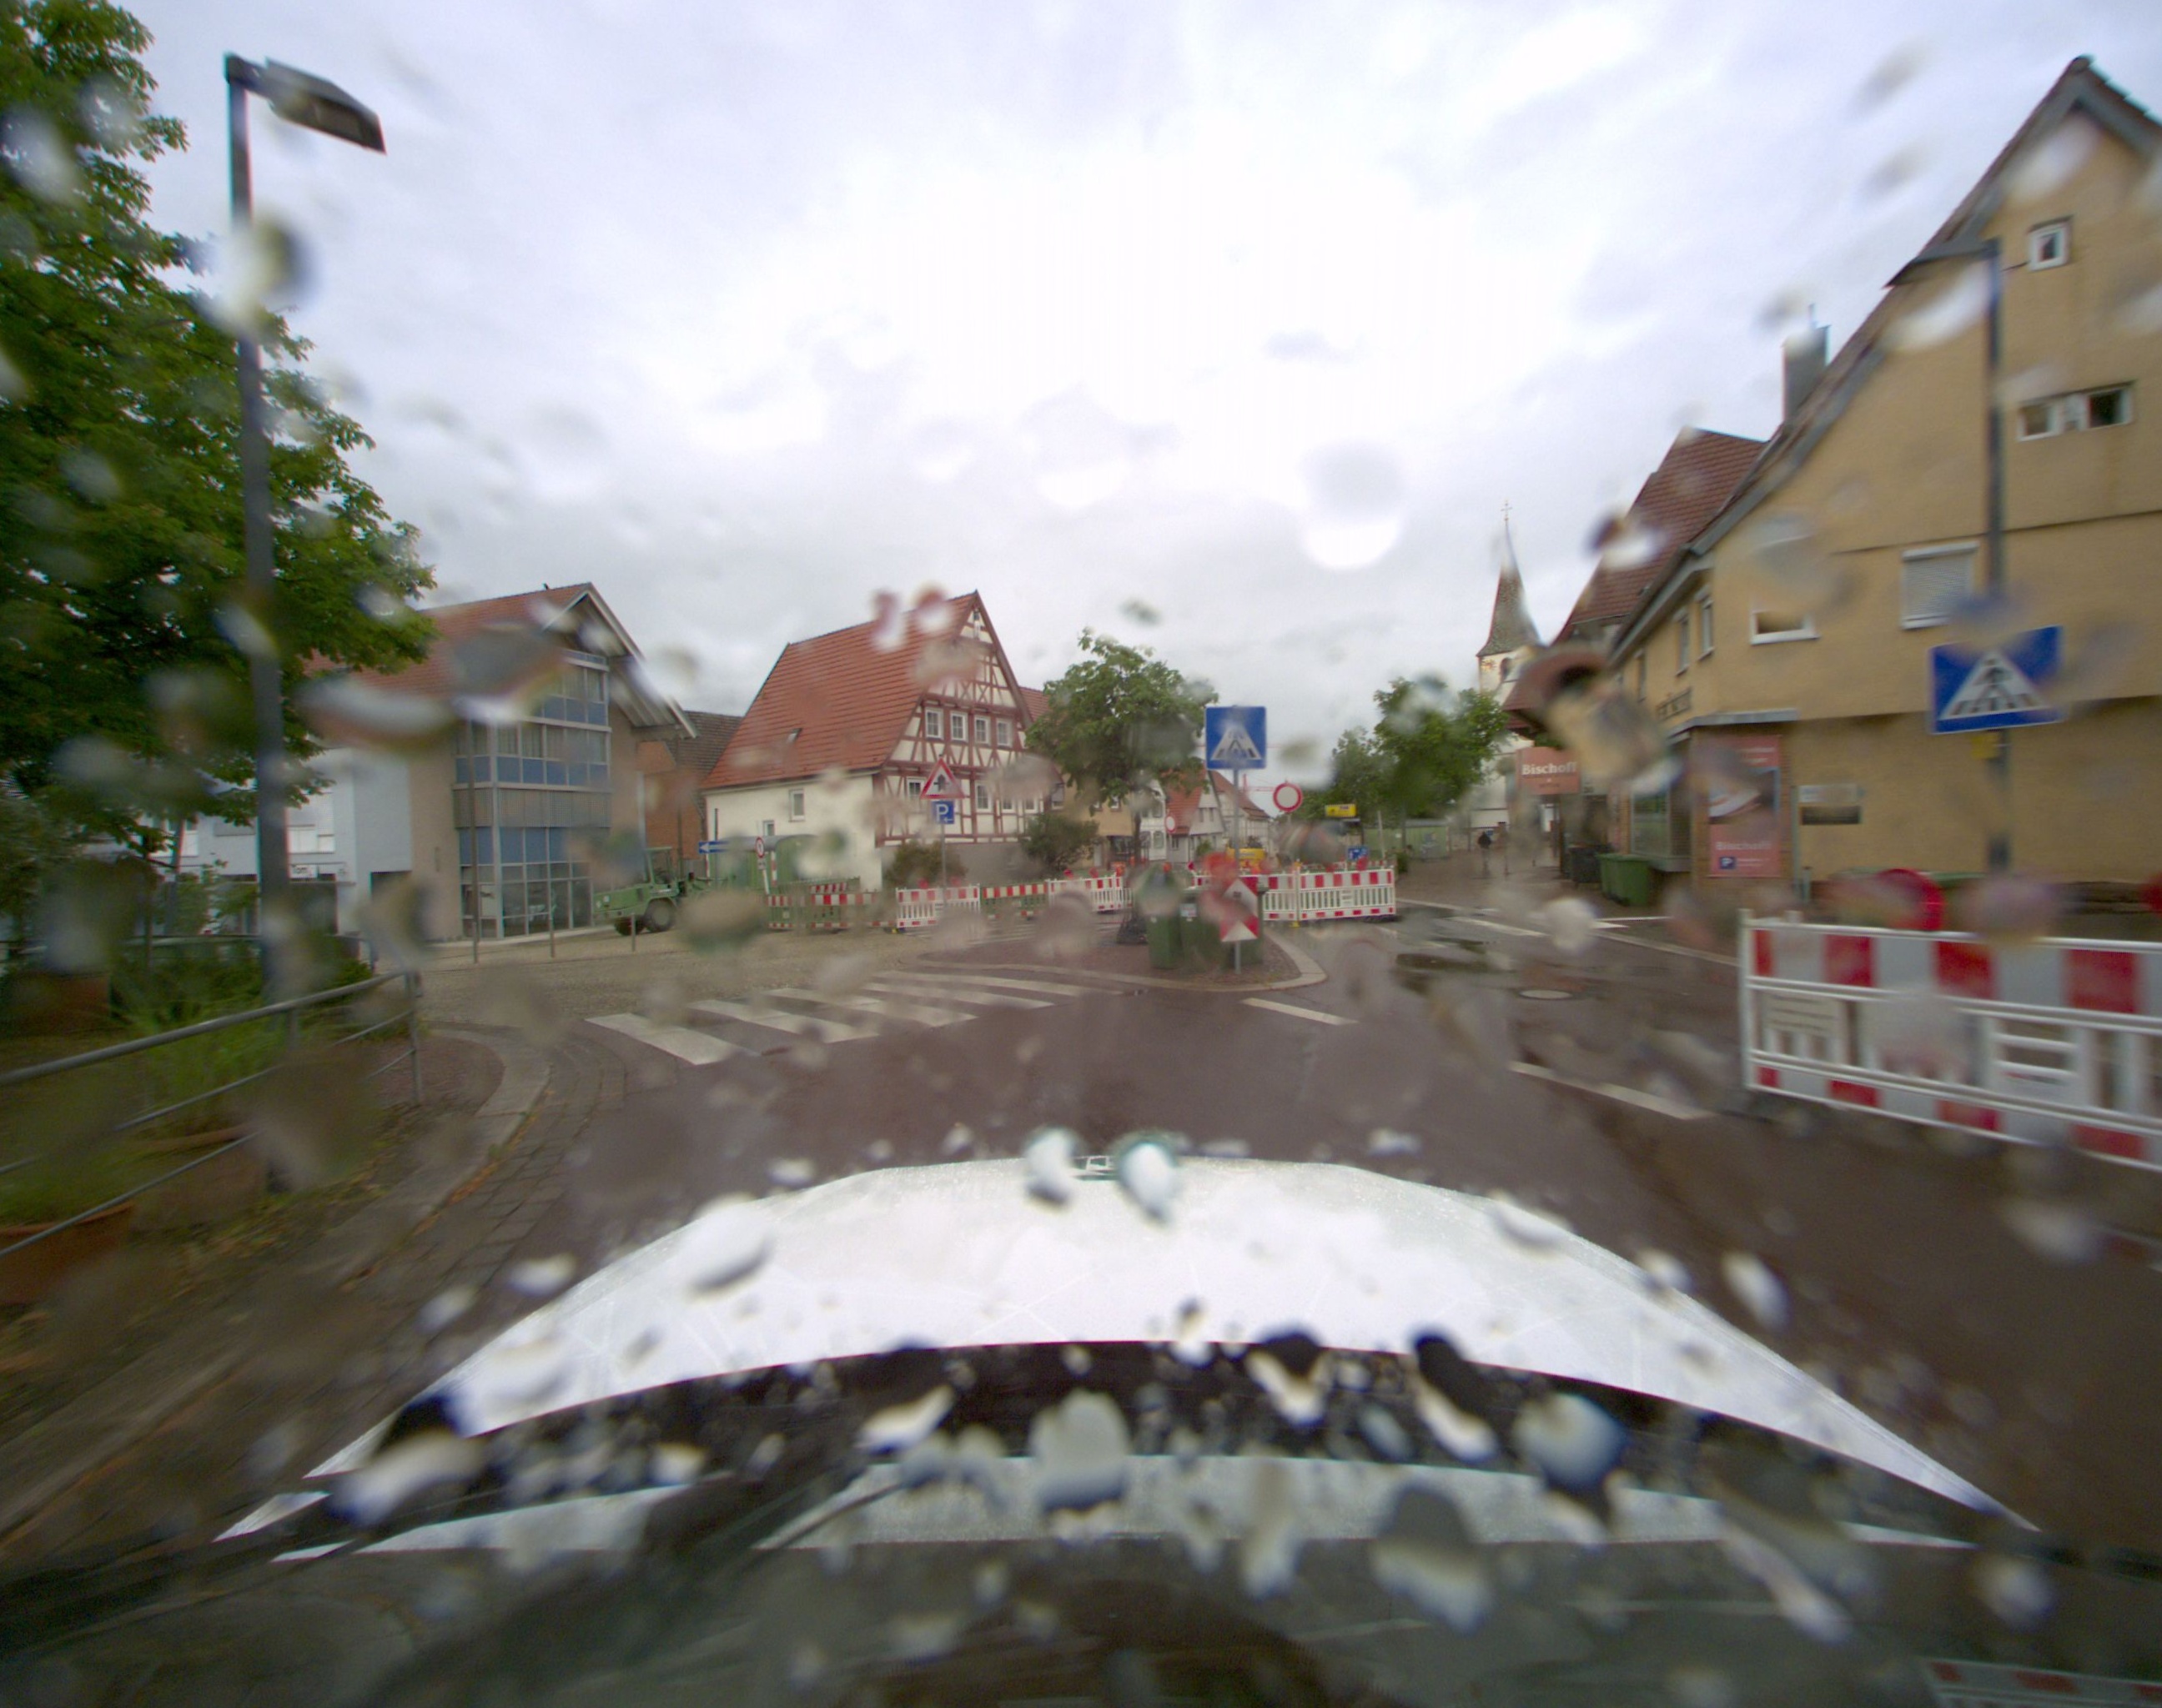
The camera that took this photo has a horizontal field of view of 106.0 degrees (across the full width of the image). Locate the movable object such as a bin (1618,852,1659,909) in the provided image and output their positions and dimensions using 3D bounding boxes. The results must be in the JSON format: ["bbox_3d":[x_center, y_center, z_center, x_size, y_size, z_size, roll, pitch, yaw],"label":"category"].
[{"bbox_3d":[11.659,0.540,17.038,0.513,1.132,0.583,-5,0,23],"label":"movable object such as a bin"}]

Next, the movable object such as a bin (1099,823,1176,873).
[{"bbox_3d":[2.584,-0.232,36.371,1.887,2.014,4.024,-4,-2,28],"label":"movable object such as a bin"}]

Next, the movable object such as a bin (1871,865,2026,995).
[{"bbox_3d":[7.513,0.648,7.081,0.674,1.066,0.541,-3,-3,13],"label":"movable object such as a bin"}]

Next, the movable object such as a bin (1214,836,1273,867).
[{"bbox_3d":[11.076,-0.146,55.309,3.373,2.014,3.496,-1,0,20],"label":"movable object such as a bin"}]

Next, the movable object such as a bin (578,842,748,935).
[{"bbox_3d":[-13.154,1.024,25.907,1.887,2.554,4.319,-5,0,32],"label":"movable object such as a bin"}]

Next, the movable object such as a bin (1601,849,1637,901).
[{"bbox_3d":[12.391,0.473,18.753,0.511,1.128,0.583,-5,0,23],"label":"movable object such as a bin"}]

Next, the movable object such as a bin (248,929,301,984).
[{"bbox_3d":[-18.125,2.297,18.322,0.547,1.126,0.562,-4,0,1],"label":"movable object such as a bin"}]

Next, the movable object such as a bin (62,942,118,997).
[{"bbox_3d":[-22.532,2.625,18.529,0.536,1.126,0.538,-4,0,1],"label":"movable object such as a bin"}]

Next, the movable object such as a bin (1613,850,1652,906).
[{"bbox_3d":[11.902,0.517,17.600,0.511,1.129,0.583,-5,0,23],"label":"movable object such as a bin"}]

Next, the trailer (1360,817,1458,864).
[{"bbox_3d":[21.425,-0.844,53.415,5.739,2.947,2.008,-1,-1,14],"label":"trailer"}]

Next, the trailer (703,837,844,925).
[{"bbox_3d":[-10.855,0.900,28.652,4.572,2.836,2.508,-1,-1,36],"label":"trailer"}]

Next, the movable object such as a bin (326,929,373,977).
[{"bbox_3d":[-16.684,2.258,18.584,0.497,0.991,0.560,-4,0,-8],"label":"movable object such as a bin"}]

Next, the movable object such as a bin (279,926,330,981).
[{"bbox_3d":[-17.560,2.236,18.424,0.547,1.126,0.562,-4,0,1],"label":"movable object such as a bin"}]

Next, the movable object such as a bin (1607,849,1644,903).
[{"bbox_3d":[12.141,0.490,18.165,0.511,1.133,0.583,-5,0,23],"label":"movable object such as a bin"}]

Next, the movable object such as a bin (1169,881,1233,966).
[{"bbox_3d":[1.525,0.870,10.370,0.537,1.033,0.538,0,-3,-37],"label":"movable object such as a bin"}]

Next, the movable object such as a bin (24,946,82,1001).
[{"bbox_3d":[-23.189,2.687,18.380,0.538,1.126,0.537,-4,0,-9],"label":"movable object such as a bin"}]

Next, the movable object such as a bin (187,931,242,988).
[{"bbox_3d":[-19.486,2.370,18.326,0.547,1.159,0.562,-4,0,1],"label":"movable object such as a bin"}]

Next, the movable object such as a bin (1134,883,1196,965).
[{"bbox_3d":[1.125,0.922,10.896,0.575,1.037,0.536,0,-3,-37],"label":"movable object such as a bin"}]

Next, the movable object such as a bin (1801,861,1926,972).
[{"bbox_3d":[8.005,0.626,8.361,0.674,1.066,0.588,-3,-1,12],"label":"movable object such as a bin"}]

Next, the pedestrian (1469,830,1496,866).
[{"bbox_3d":[19.669,-0.286,39.929,0.983,1.759,0.855,-1,-1,13],"label":"pedestrian"}]

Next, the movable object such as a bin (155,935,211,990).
[{"bbox_3d":[-20.190,2.436,18.313,0.547,1.126,0.562,-4,0,1],"label":"movable object such as a bin"}]

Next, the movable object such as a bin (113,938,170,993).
[{"bbox_3d":[-21.387,2.525,18.550,0.547,1.126,0.562,-4,0,1],"label":"movable object such as a bin"}]

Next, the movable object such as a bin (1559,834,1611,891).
[{"bbox_3d":[14.390,0.235,23.298,1.055,1.512,1.250,-5,-1,27],"label":"movable object such as a bin"}]

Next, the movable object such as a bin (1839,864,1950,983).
[{"bbox_3d":[7.721,0.644,7.758,0.610,1.066,0.543,-4,-2,36],"label":"movable object such as a bin"}]

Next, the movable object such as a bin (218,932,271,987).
[{"bbox_3d":[-18.849,2.358,18.354,0.538,1.126,0.562,-4,0,1],"label":"movable object such as a bin"}]
